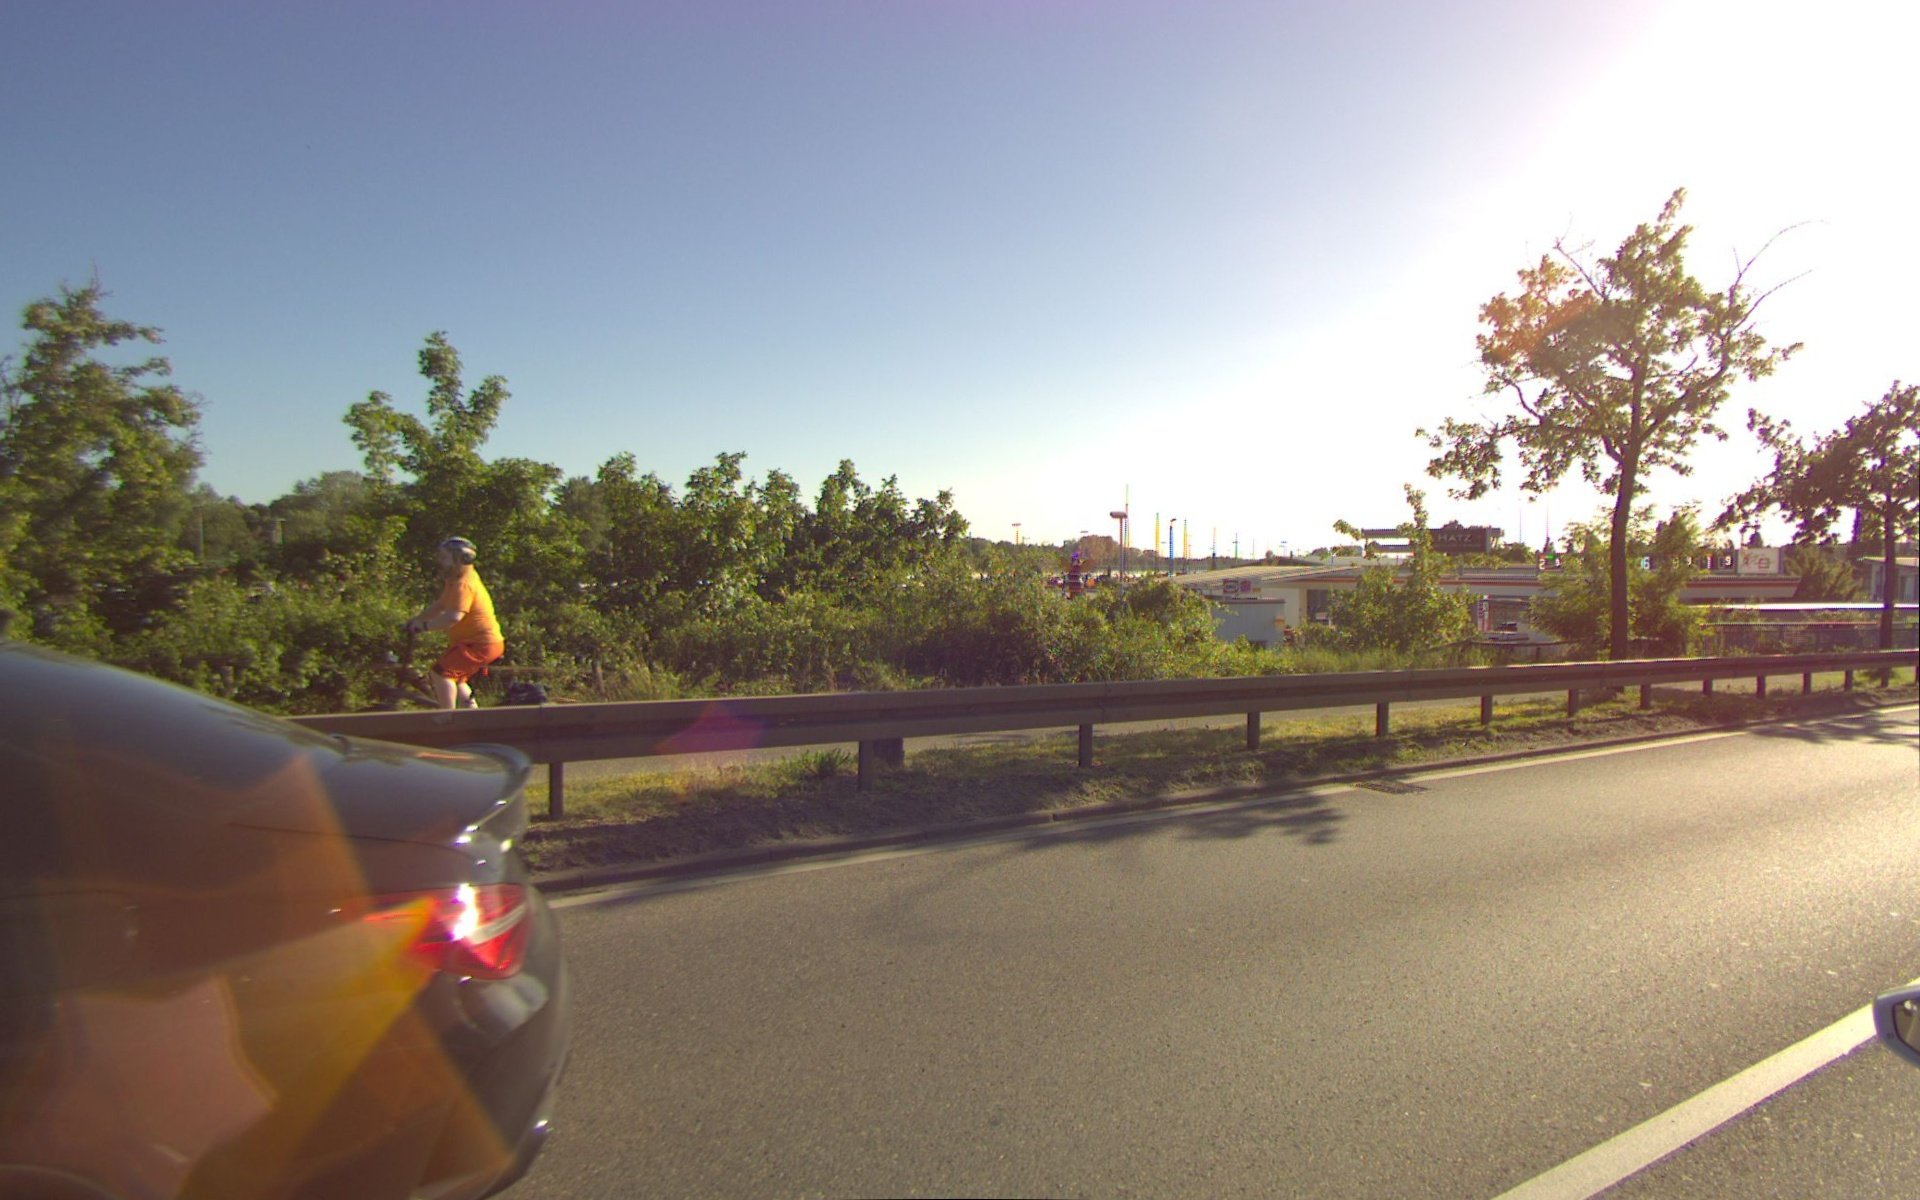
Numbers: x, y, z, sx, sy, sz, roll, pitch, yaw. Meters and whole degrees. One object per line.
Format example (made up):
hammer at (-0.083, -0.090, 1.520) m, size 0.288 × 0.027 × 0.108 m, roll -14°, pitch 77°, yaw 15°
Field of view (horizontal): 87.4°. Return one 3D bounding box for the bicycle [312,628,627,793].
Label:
bicycle at (-3.706, 0.781, 7.698) m, size 2.085 × 1.110 × 0.656 m, roll 1°, pitch 0°, yaw -33°

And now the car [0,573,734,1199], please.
car at (-2.658, 0.668, 1.620) m, size 4.167 × 1.460 × 1.683 m, roll 1°, pitch 0°, yaw -31°

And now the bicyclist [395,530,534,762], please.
bicyclist at (-3.768, 0.332, 7.632) m, size 0.865 × 1.645 × 0.648 m, roll 1°, pitch 0°, yaw -33°
